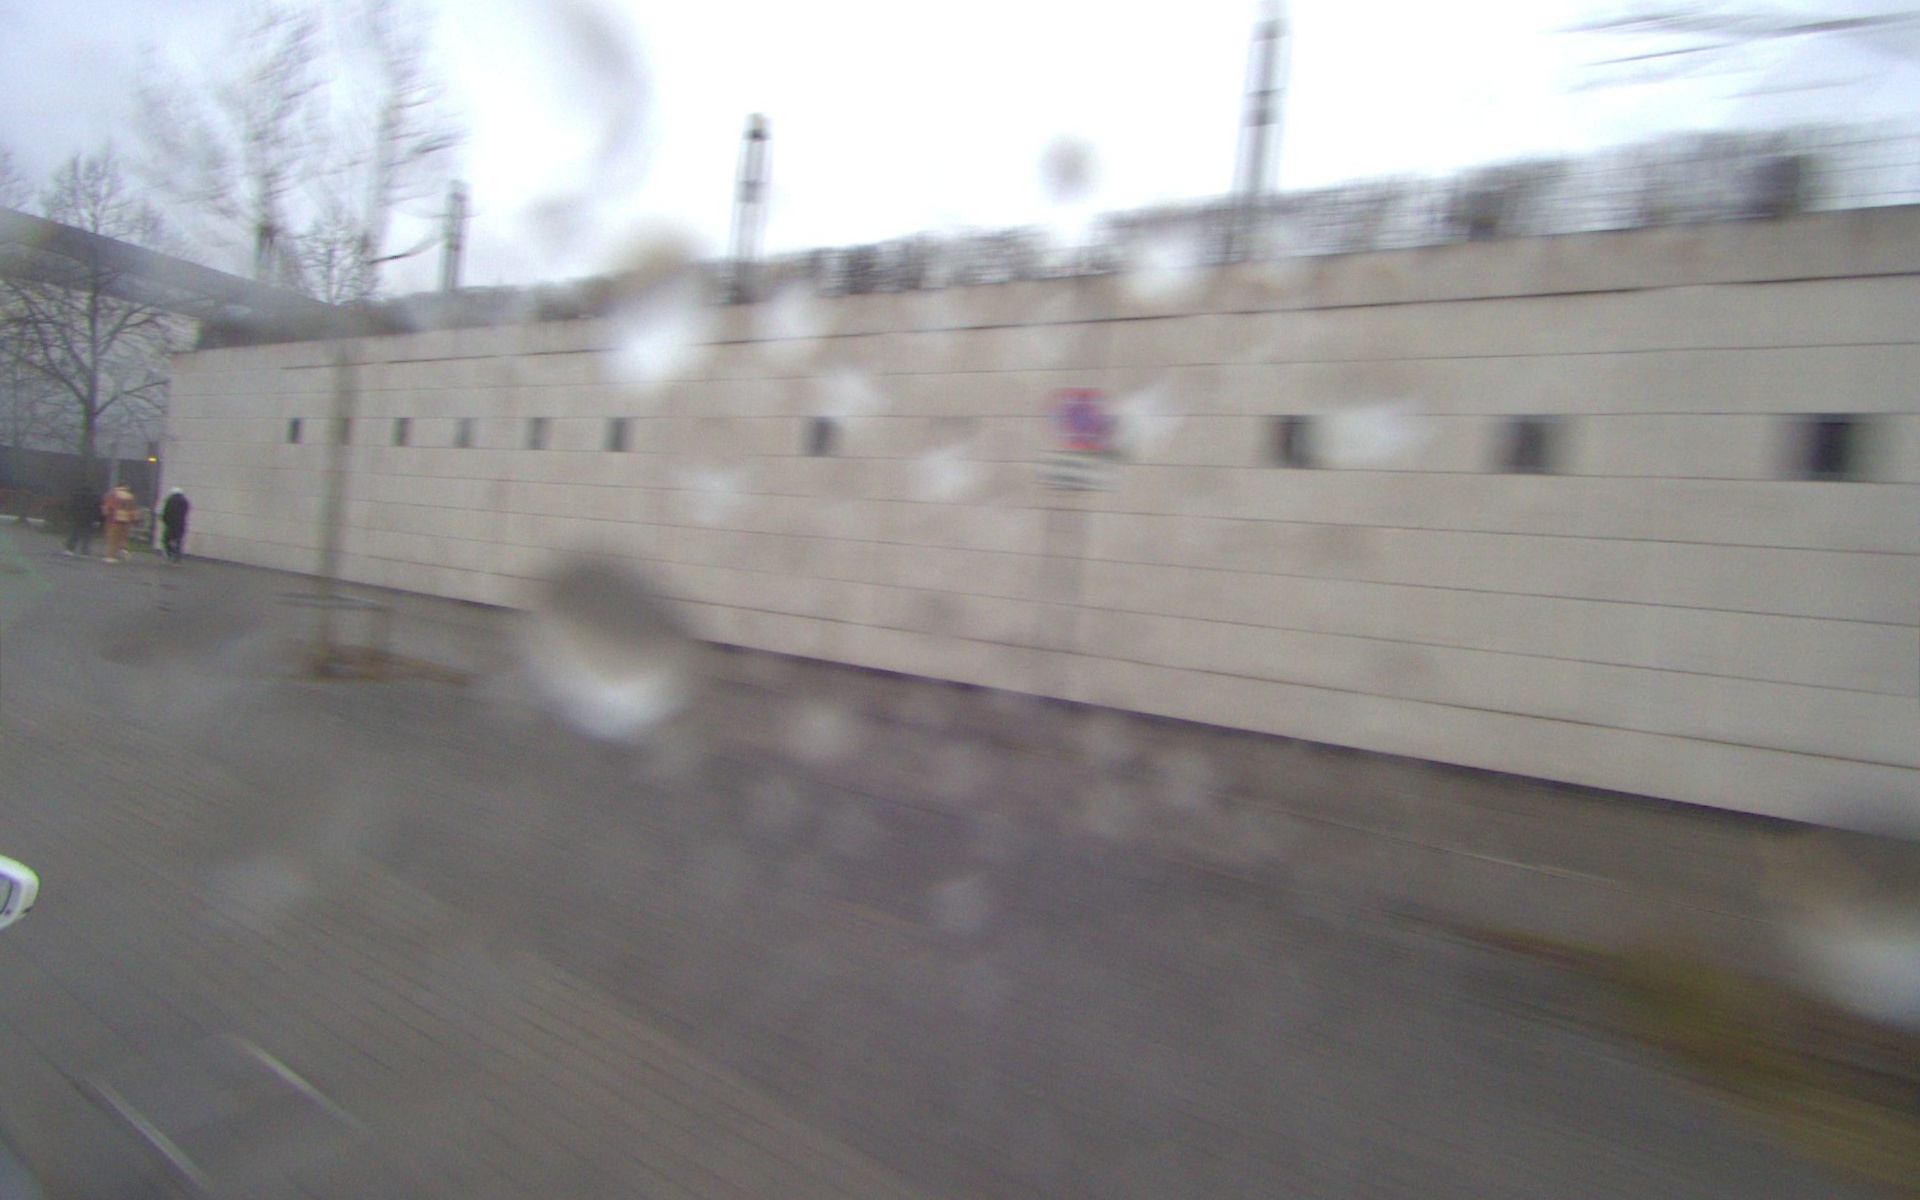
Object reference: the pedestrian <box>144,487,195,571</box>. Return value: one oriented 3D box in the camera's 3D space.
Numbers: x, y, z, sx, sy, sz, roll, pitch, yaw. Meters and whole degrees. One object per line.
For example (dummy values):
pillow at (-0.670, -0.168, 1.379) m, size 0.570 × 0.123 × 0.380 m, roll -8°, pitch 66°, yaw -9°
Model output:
pedestrian at (-17.917, -1.608, 22.806) m, size 0.671 × 1.799 × 0.606 m, roll 7°, pitch -1°, yaw -45°

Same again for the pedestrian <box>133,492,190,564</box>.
pedestrian at (-19.889, -1.784, 25.056) m, size 0.977 × 1.676 × 0.668 m, roll 6°, pitch 1°, yaw 27°

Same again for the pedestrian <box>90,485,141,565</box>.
pedestrian at (-18.541, -1.645, 22.087) m, size 0.671 × 1.631 × 0.606 m, roll 8°, pitch -1°, yaw -44°

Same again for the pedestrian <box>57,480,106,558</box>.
pedestrian at (-19.846, -1.816, 22.723) m, size 0.670 × 1.644 × 0.607 m, roll 7°, pitch -1°, yaw -43°
